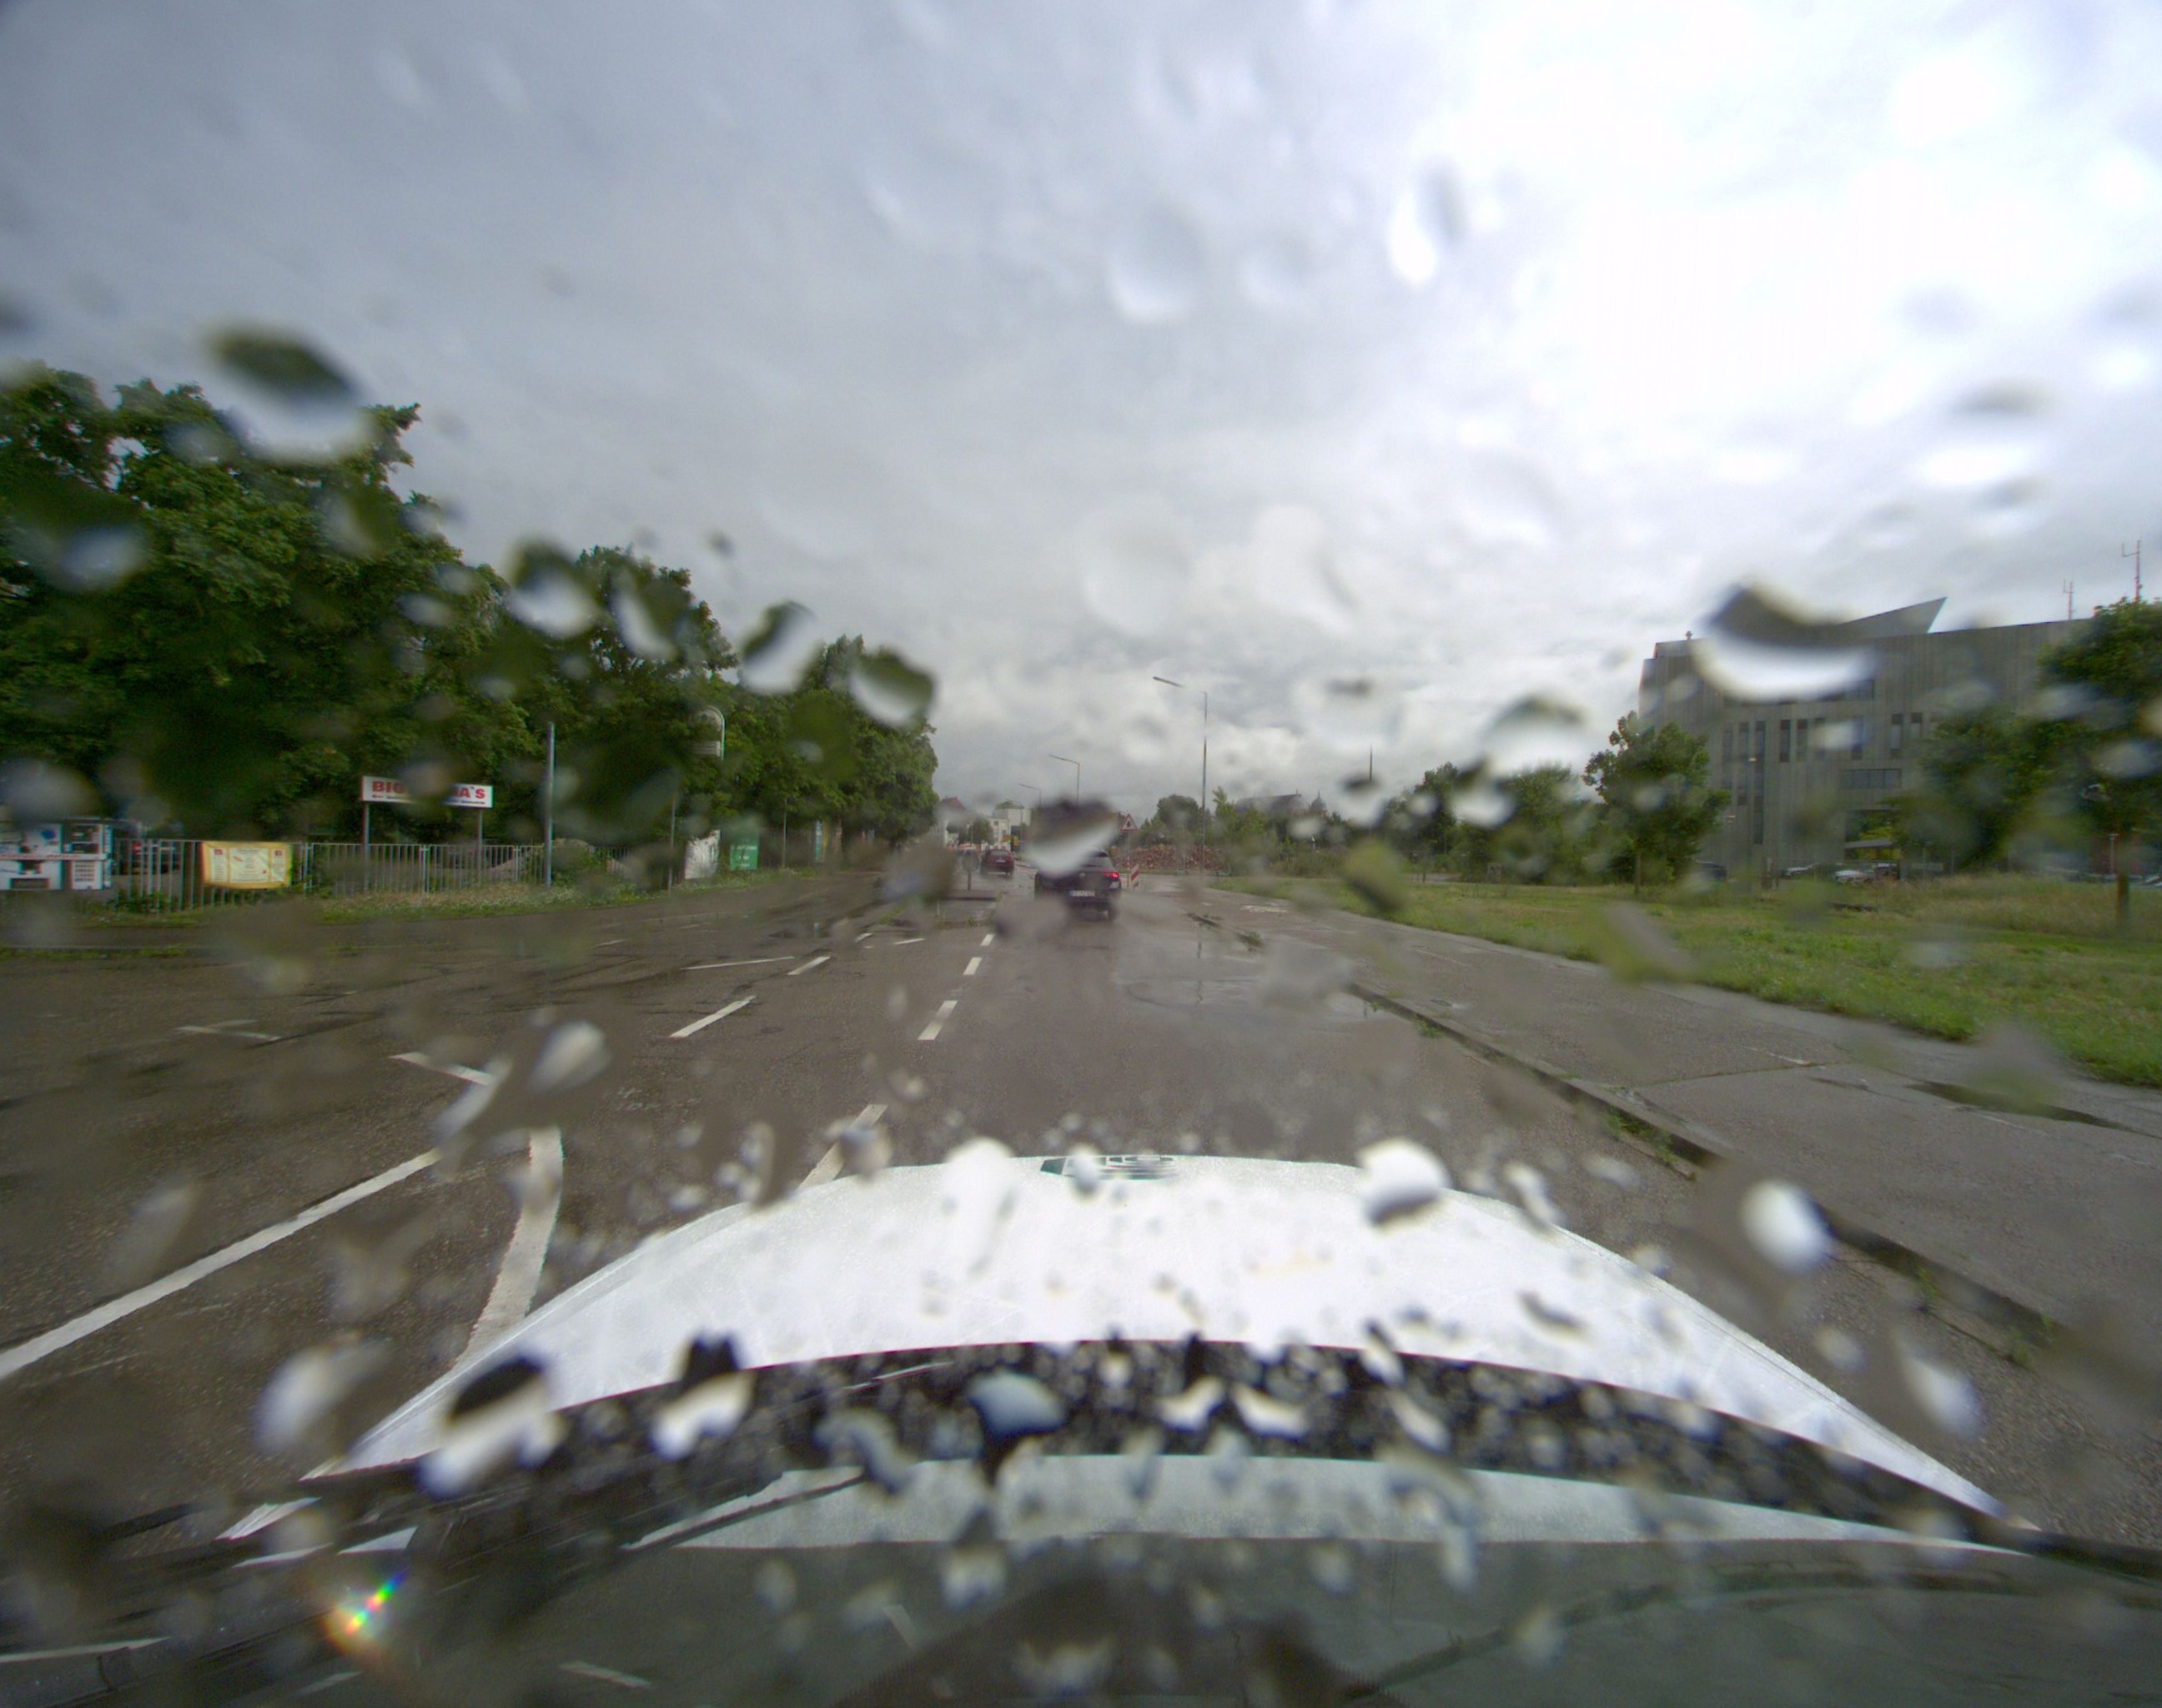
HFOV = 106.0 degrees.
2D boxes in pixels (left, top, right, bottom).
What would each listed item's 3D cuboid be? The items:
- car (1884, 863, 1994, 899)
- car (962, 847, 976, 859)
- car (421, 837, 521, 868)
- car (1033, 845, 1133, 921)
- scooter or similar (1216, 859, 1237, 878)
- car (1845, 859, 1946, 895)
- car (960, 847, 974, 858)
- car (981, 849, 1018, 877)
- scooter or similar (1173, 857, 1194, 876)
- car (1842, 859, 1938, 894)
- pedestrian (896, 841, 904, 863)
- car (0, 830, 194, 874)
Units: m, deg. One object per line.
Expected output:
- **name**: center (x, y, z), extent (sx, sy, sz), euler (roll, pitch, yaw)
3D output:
- **car**: center (50.853, 1.574, 48.387), extent (4.116, 1.720, 1.831), euler (5, 2, 36)
- **car**: center (-15.910, -0.121, 115.412), extent (1.841, 1.641, 4.003), euler (1, 0, -9)
- **car**: center (-29.787, -0.065, 39.953), extent (1.993, 1.418, 4.530), euler (1, 0, -9)
- **car**: center (-0.070, 0.590, 18.597), extent (1.983, 1.520, 3.994), euler (-1, 0, -4)
- **scooter or similar**: center (10.054, 0.983, 56.156), extent (1.268, 1.187, 0.506), euler (5, 2, 32)
- **car**: center (53.287, 1.444, 53.419), extent (4.332, 1.957, 2.012), euler (5, 2, 37)
- **car**: center (-17.817, -0.235, 127.024), extent (1.996, 1.702, 4.003), euler (1, 0, -9)
- **car**: center (-4.540, 0.516, 44.995), extent (1.840, 1.442, 3.988), euler (-1, -1, -8)
- **scooter or similar**: center (7.154, 0.884, 56.885), extent (1.268, 1.187, 0.506), euler (5, 2, 32)
- **car**: center (55.148, 1.524, 55.647), extent (4.332, 1.971, 2.012), euler (5, 2, 37)
- **pedestrian**: center (-14.730, -0.153, 66.305), extent (0.524, 1.701, 0.565), euler (3, 1, -9)
- **car**: center (-34.113, -0.058, 28.088), extent (4.523, 1.418, 1.996), euler (1, 0, -6)
